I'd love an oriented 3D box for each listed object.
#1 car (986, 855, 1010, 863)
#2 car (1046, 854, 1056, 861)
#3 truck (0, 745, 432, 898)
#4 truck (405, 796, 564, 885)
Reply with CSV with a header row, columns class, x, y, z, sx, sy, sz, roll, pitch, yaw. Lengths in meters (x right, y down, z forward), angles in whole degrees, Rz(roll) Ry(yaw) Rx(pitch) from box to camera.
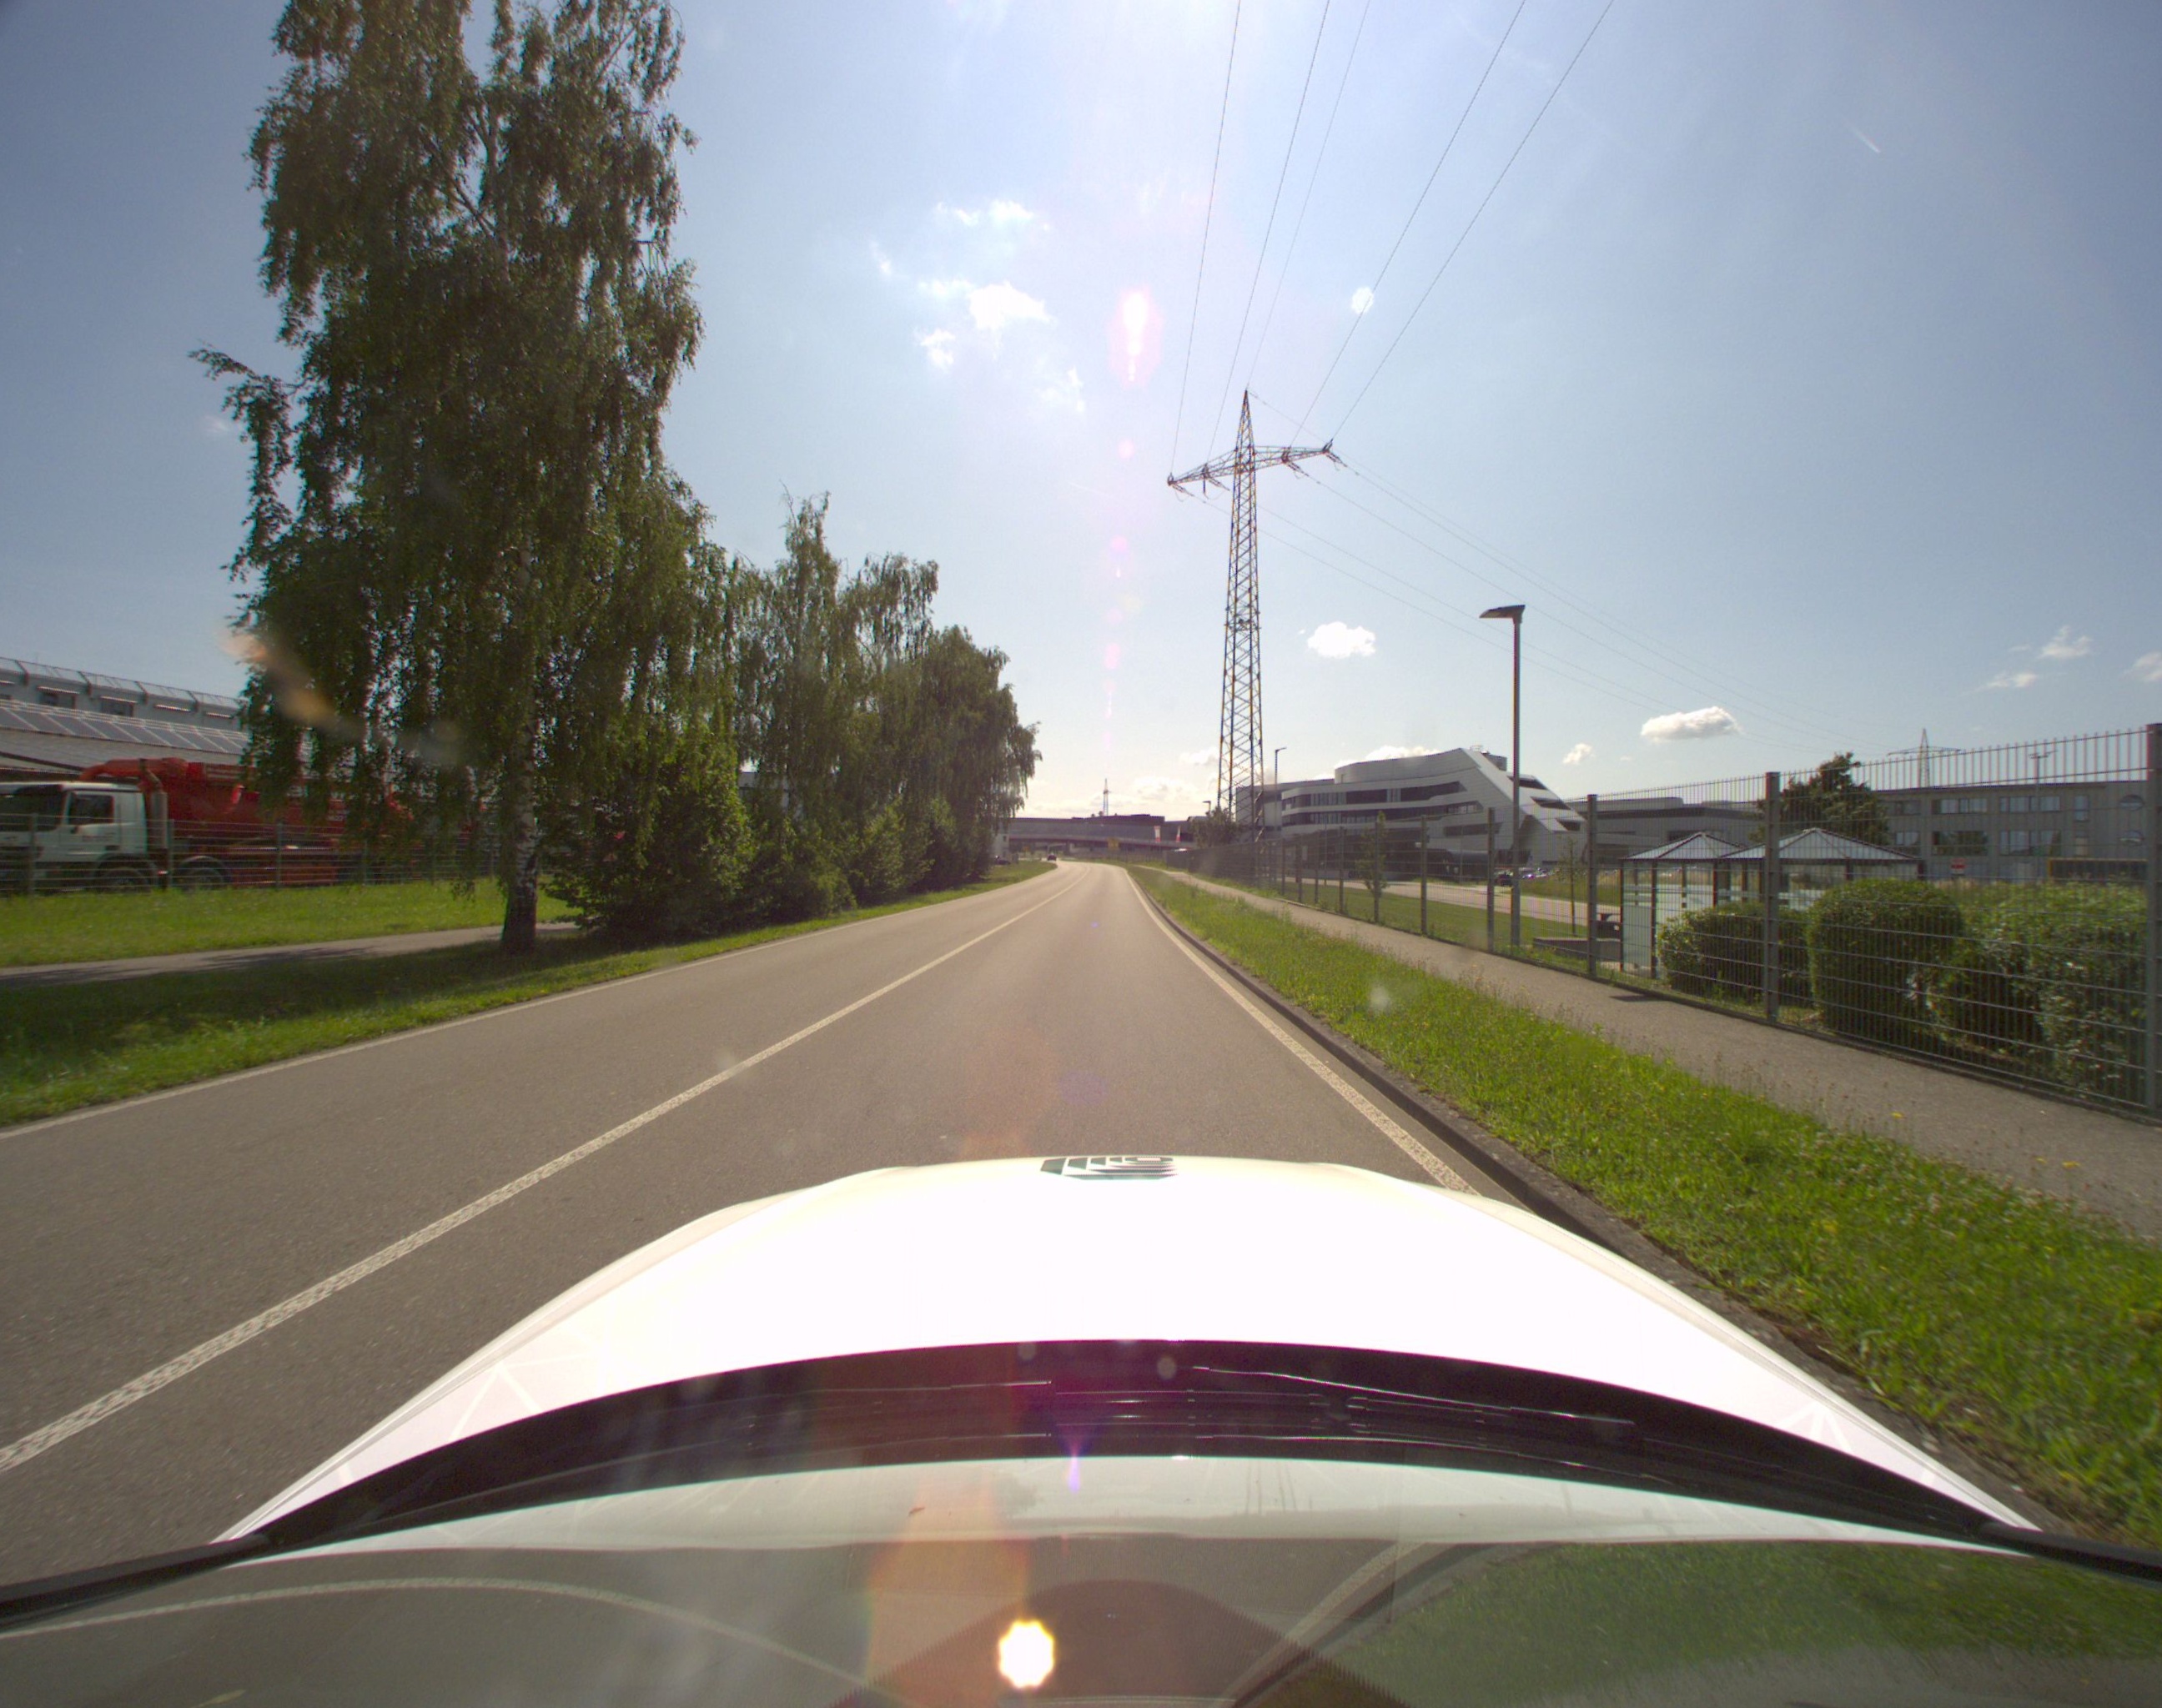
class,x,y,z,sx,sy,sz,roll,pitch,yaw
car,-14.029,0.798,138.015,3.710,1.290,1.692,1,0,-28
car,-6.577,0.679,178.858,2.009,1.508,3.992,1,0,-6
truck,-25.001,-0.777,24.147,2.741,3.558,10.276,1,0,3
truck,-24.979,-0.529,34.447,2.425,3.452,5.447,1,0,3
